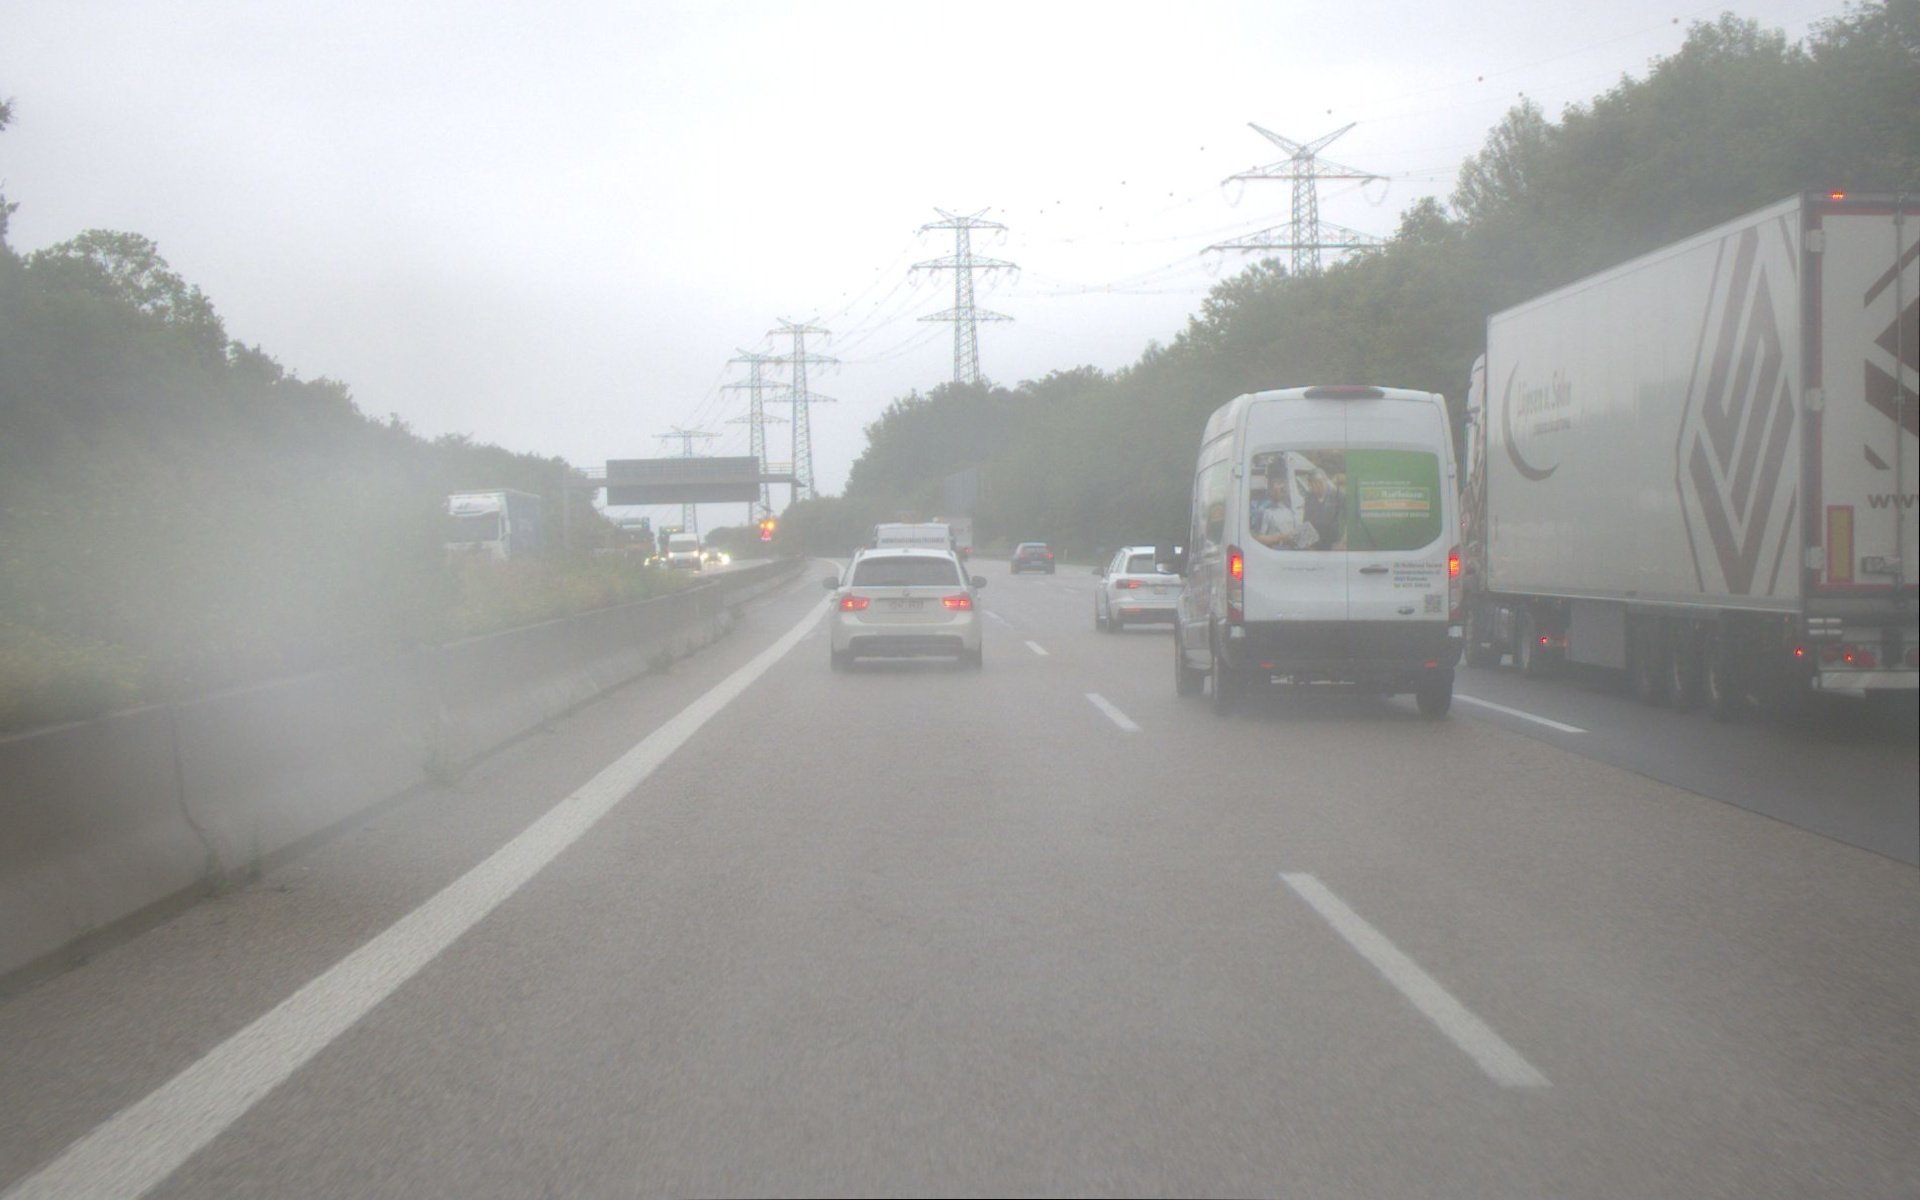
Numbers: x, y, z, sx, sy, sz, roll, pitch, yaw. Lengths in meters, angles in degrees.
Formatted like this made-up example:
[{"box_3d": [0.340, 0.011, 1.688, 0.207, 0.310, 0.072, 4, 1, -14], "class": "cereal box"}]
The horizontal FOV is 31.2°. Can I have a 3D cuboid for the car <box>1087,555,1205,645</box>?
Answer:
[{"box_3d": [3.090, -0.028, 56.425, 1.857, 1.418, 4.000, 0, 1, 4], "class": "car"}]

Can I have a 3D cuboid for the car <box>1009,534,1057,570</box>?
[{"box_3d": [3.335, -2.166, 155.617, 1.994, 1.481, 4.000, -3, 0, 3], "class": "car"}]

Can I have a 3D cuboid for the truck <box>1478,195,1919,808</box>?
[{"box_3d": [7.333, -0.750, 30.861, 3.603, 4.317, 13.199, -1, 0, 1], "class": "truck"}]

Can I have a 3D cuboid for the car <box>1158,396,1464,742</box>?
[{"box_3d": [3.063, -0.294, 30.854, 1.993, 2.854, 4.001, -1, 1, -4], "class": "car"}]

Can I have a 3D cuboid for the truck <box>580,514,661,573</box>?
[{"box_3d": [-22.829, -3.855, 232.079, 4.057, 3.735, 16.868, -1, 1, -1], "class": "truck"}]

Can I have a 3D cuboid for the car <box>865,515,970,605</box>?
[{"box_3d": [-0.850, -0.831, 70.528, 1.846, 1.766, 4.000, -1, 1, 3], "class": "car"}]

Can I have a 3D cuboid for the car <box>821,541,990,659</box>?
[{"box_3d": [-0.627, -0.035, 40.739, 1.866, 1.284, 4.000, -1, 1, 0], "class": "car"}]
